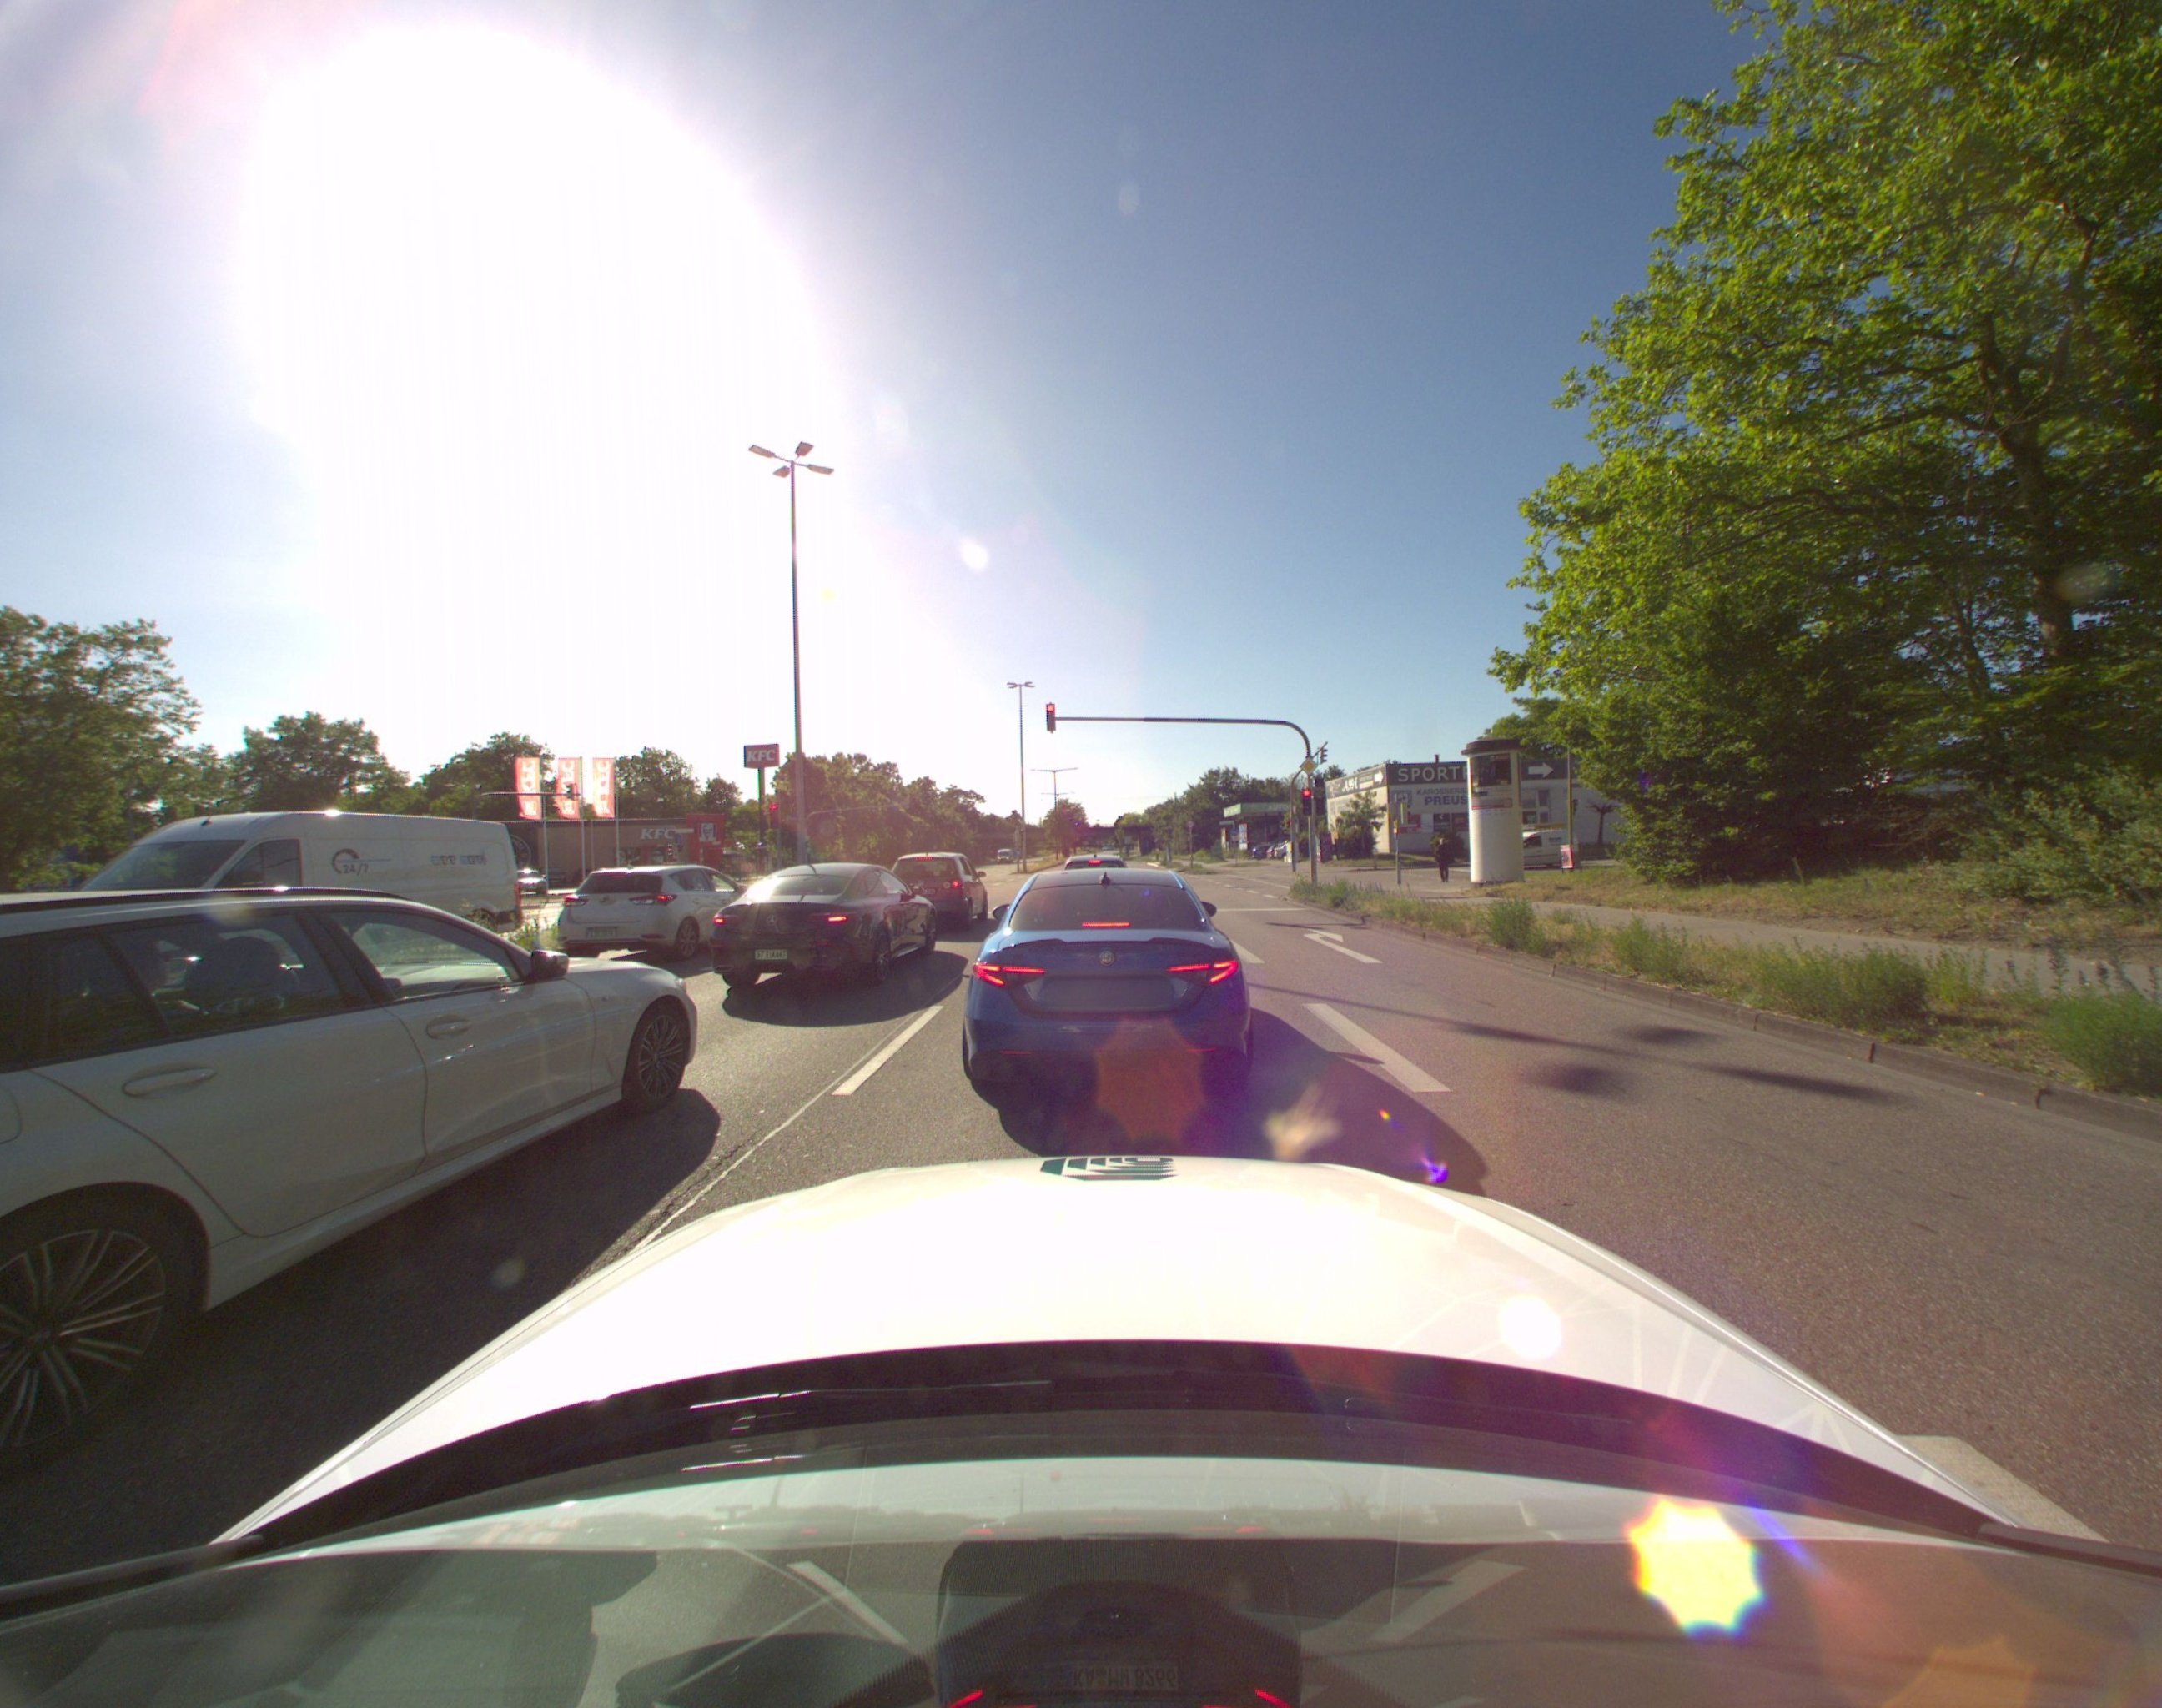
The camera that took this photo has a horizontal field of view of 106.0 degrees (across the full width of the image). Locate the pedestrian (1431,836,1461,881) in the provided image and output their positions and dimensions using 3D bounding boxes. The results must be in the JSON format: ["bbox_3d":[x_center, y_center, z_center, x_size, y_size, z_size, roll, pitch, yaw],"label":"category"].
[{"bbox_3d":[14.226,0.183,31.770,0.818,1.721,0.856,-2,0,9],"label":"pedestrian"}]

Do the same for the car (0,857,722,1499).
[{"bbox_3d":[-3.431,0.803,3.360,1.762,1.509,4.463,-2,0,2],"label":"car"}]

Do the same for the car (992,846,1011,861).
[{"bbox_3d":[-12.792,-0.089,131.224,2.423,2.427,5.831,-2,0,0],"label":"car"}]

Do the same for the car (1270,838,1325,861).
[{"bbox_3d":[17.510,-0.357,65.865,3.993,1.706,1.687,-2,0,-15],"label":"car"}]

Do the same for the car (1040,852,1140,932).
[{"bbox_3d":[0.230,0.706,17.196,1.859,1.450,3.933,-1,0,2],"label":"car"}]

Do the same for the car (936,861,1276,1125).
[{"bbox_3d":[0.200,0.792,6.479,1.859,1.385,3.933,-1,0,2],"label":"car"}]

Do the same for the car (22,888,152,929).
[{"bbox_3d":[-47.145,2.549,38.678,3.972,1.728,1.759,-1,0,1],"label":"car"}]

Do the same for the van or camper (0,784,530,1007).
[{"bbox_3d":[-12.406,0.521,13.120,2.170,2.572,6.756,-3,0,2],"label":"van or camper"}]

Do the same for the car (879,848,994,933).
[{"bbox_3d":[-3.016,0.705,17.722,1.642,1.598,3.933,-2,0,2],"label":"car"}]

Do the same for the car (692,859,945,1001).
[{"bbox_3d":[-3.144,0.818,10.832,1.762,1.414,4.463,-2,0,2],"label":"car"}]

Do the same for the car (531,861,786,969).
[{"bbox_3d":[-6.784,0.882,13.724,1.850,1.429,4.405,-2,0,2],"label":"car"}]

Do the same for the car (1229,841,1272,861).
[{"bbox_3d":[15.383,-0.251,73.967,3.489,1.706,1.687,-2,0,-14],"label":"car"}]

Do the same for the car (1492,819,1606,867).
[{"bbox_3d":[22.630,-0.521,39.464,4.393,2.145,1.999,-1,0,-2],"label":"car"}]

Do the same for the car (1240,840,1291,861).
[{"bbox_3d":[16.040,-0.288,70.759,3.997,1.706,1.685,-1,0,-18],"label":"car"}]
